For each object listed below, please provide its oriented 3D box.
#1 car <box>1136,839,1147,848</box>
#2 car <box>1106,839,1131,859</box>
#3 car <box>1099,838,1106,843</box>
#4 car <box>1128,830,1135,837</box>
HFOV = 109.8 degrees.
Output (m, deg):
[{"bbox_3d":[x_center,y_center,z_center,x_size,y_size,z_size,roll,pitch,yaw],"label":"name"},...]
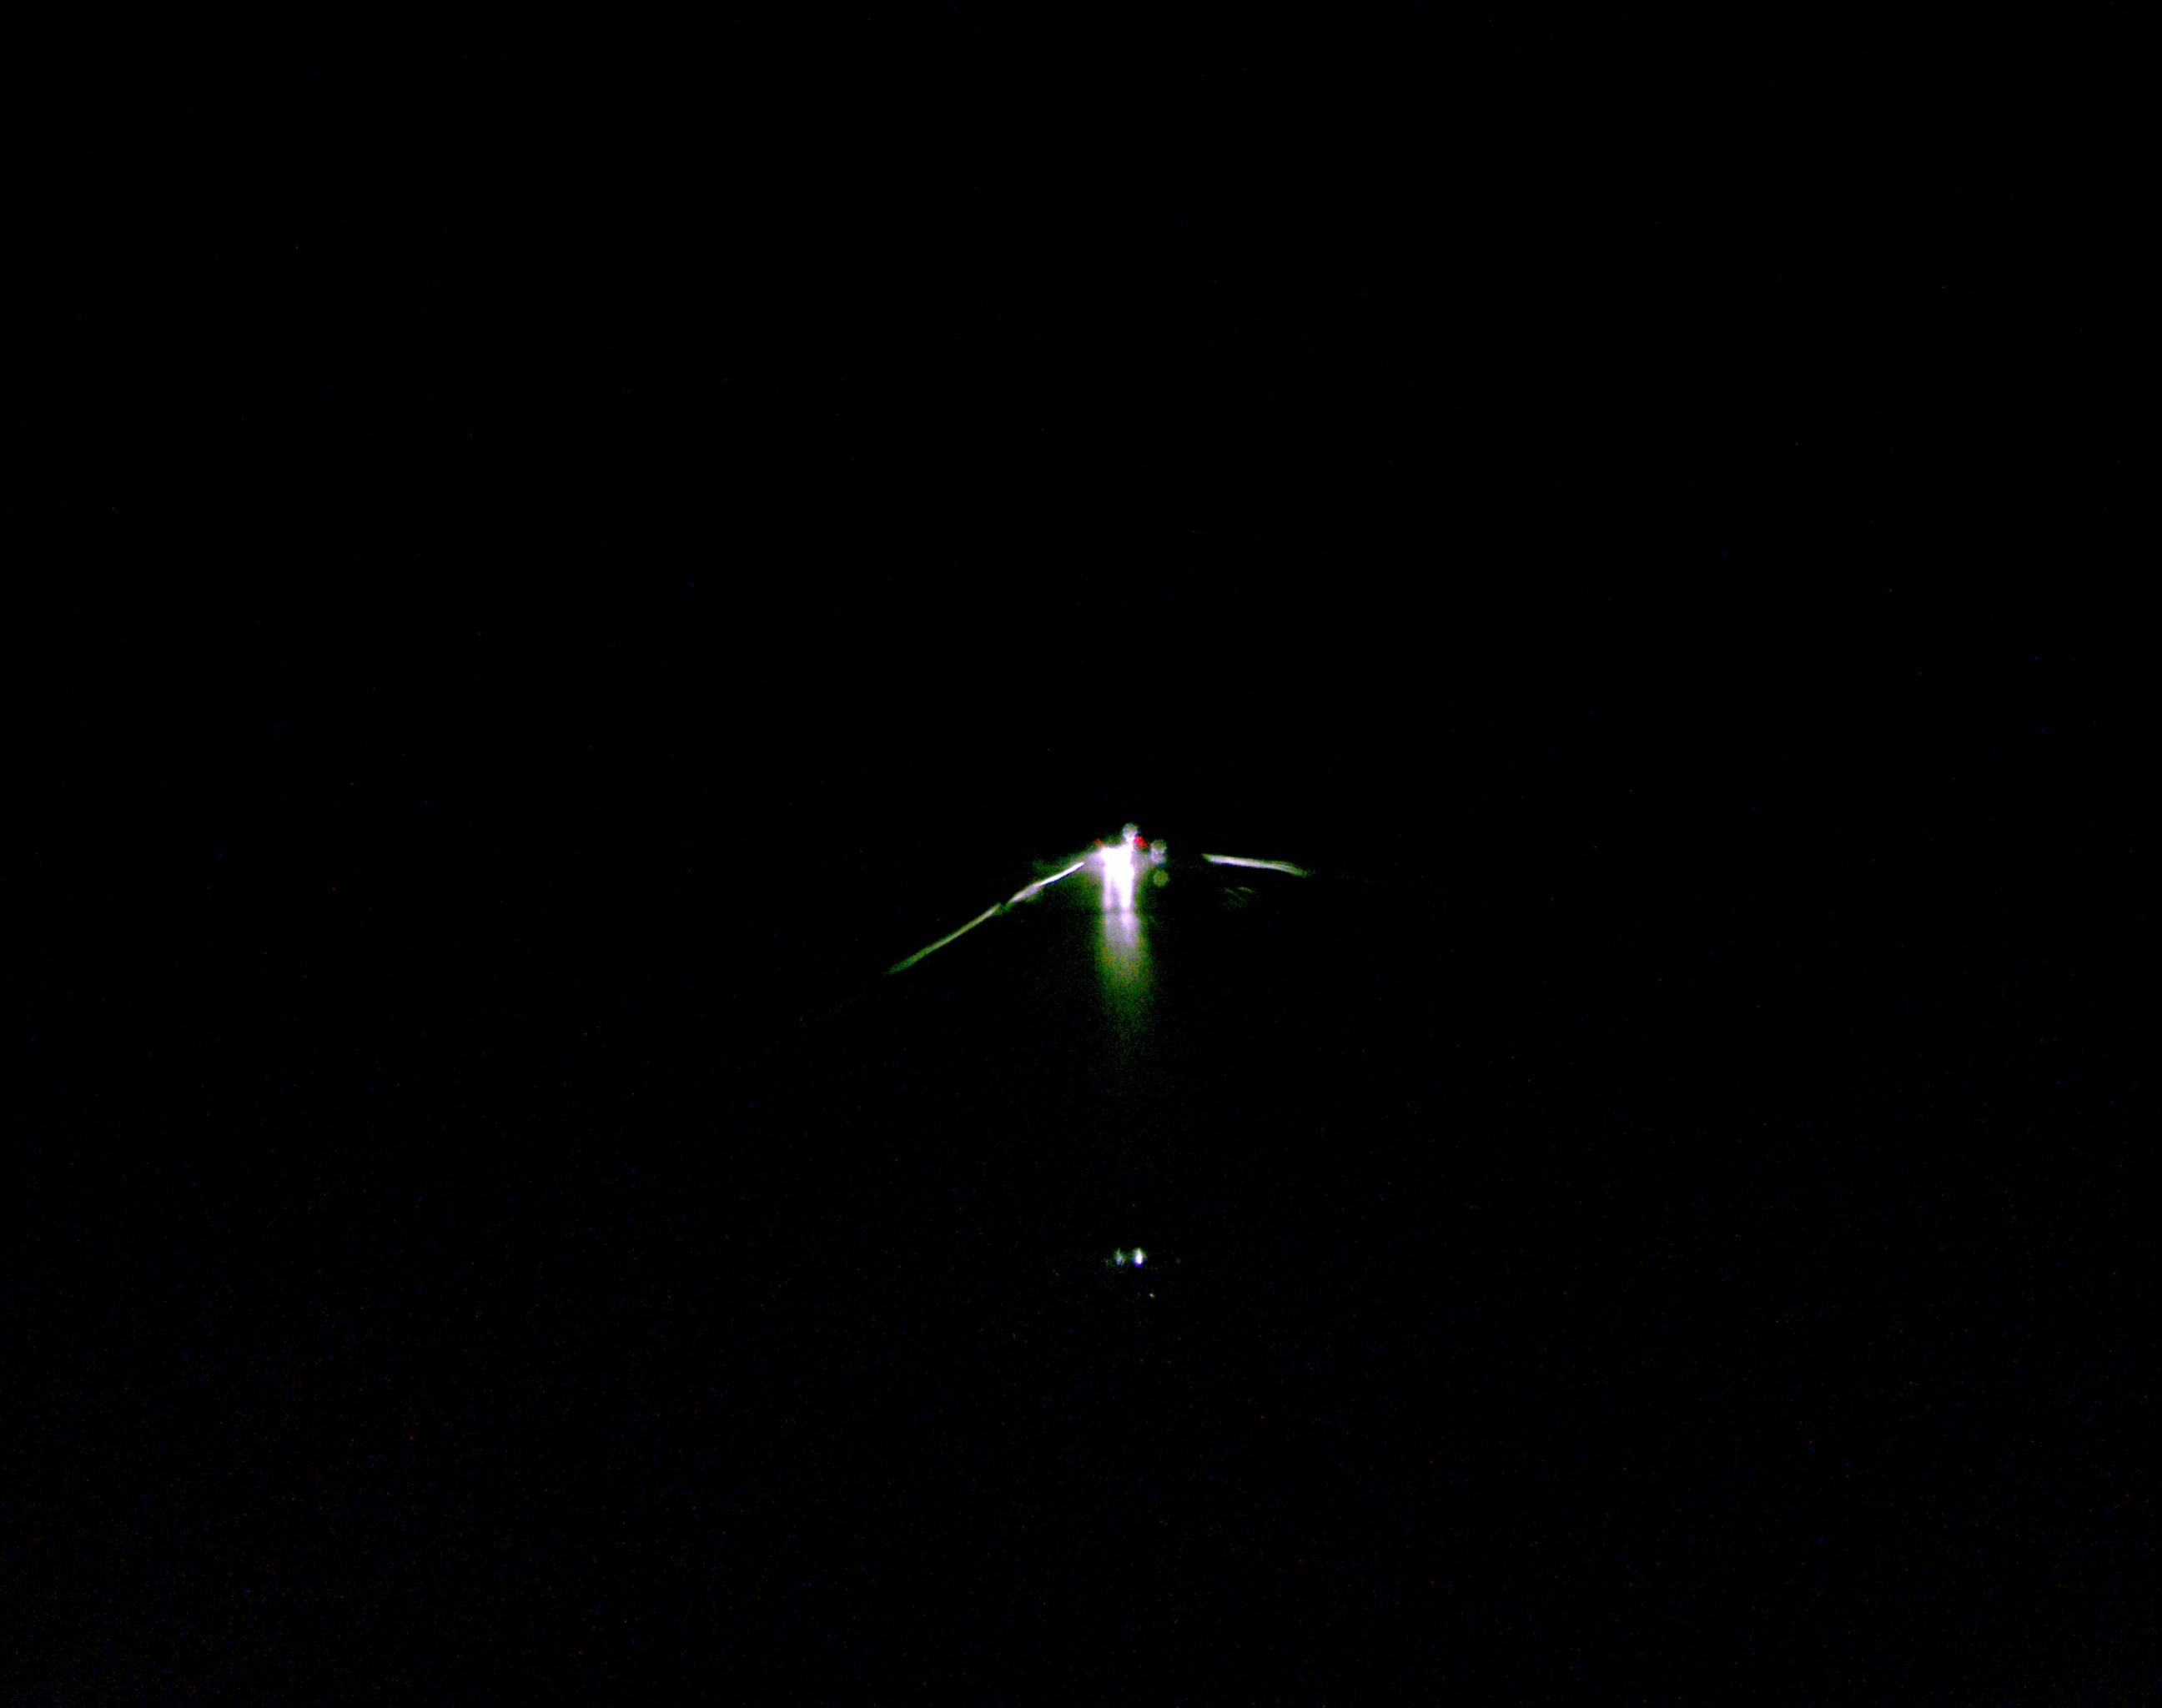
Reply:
[{"bbox_3d":[11.048,-1.941,138.087,1.921,1.455,4.260,-4,0,5],"label":"car"},{"bbox_3d":[2.949,-0.403,60.803,1.776,1.445,4.135,-3,1,1],"label":"car"},{"bbox_3d":[7.202,-4.469,254.240,1.998,1.383,3.846,-5,0,2],"label":"car"},{"bbox_3d":[13.320,-5.401,201.227,1.859,1.929,4.000,-4,1,3],"label":"car"}]
